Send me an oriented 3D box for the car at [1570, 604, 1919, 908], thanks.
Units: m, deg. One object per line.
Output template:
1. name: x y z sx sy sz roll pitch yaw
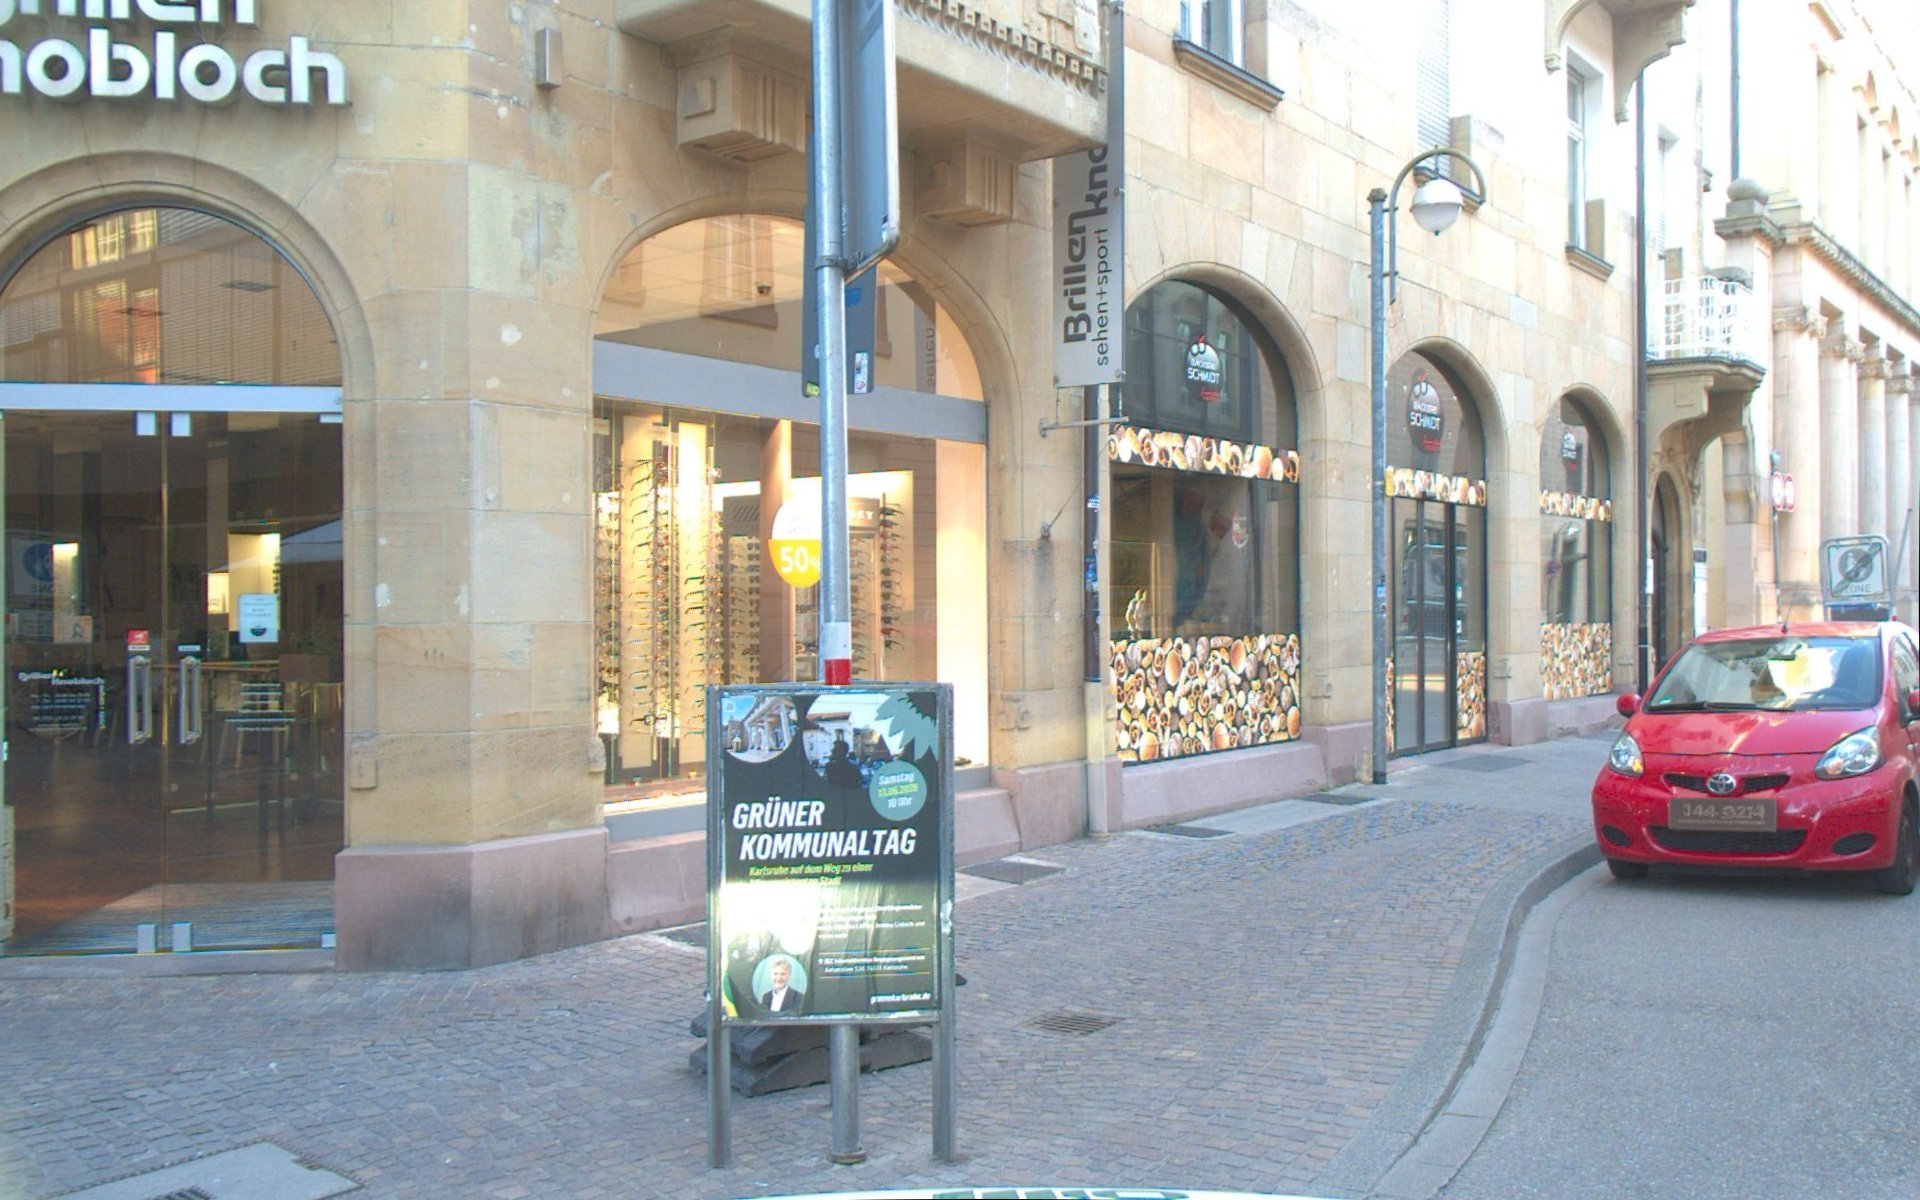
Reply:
1. car: 5.310 0.808 10.286 1.631 1.495 3.913 -4 -2 39

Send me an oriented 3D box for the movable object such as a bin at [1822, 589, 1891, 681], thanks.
1. movable object such as a bin: 15.390 0.584 28.384 0.816 1.529 1.285 0 1 39
